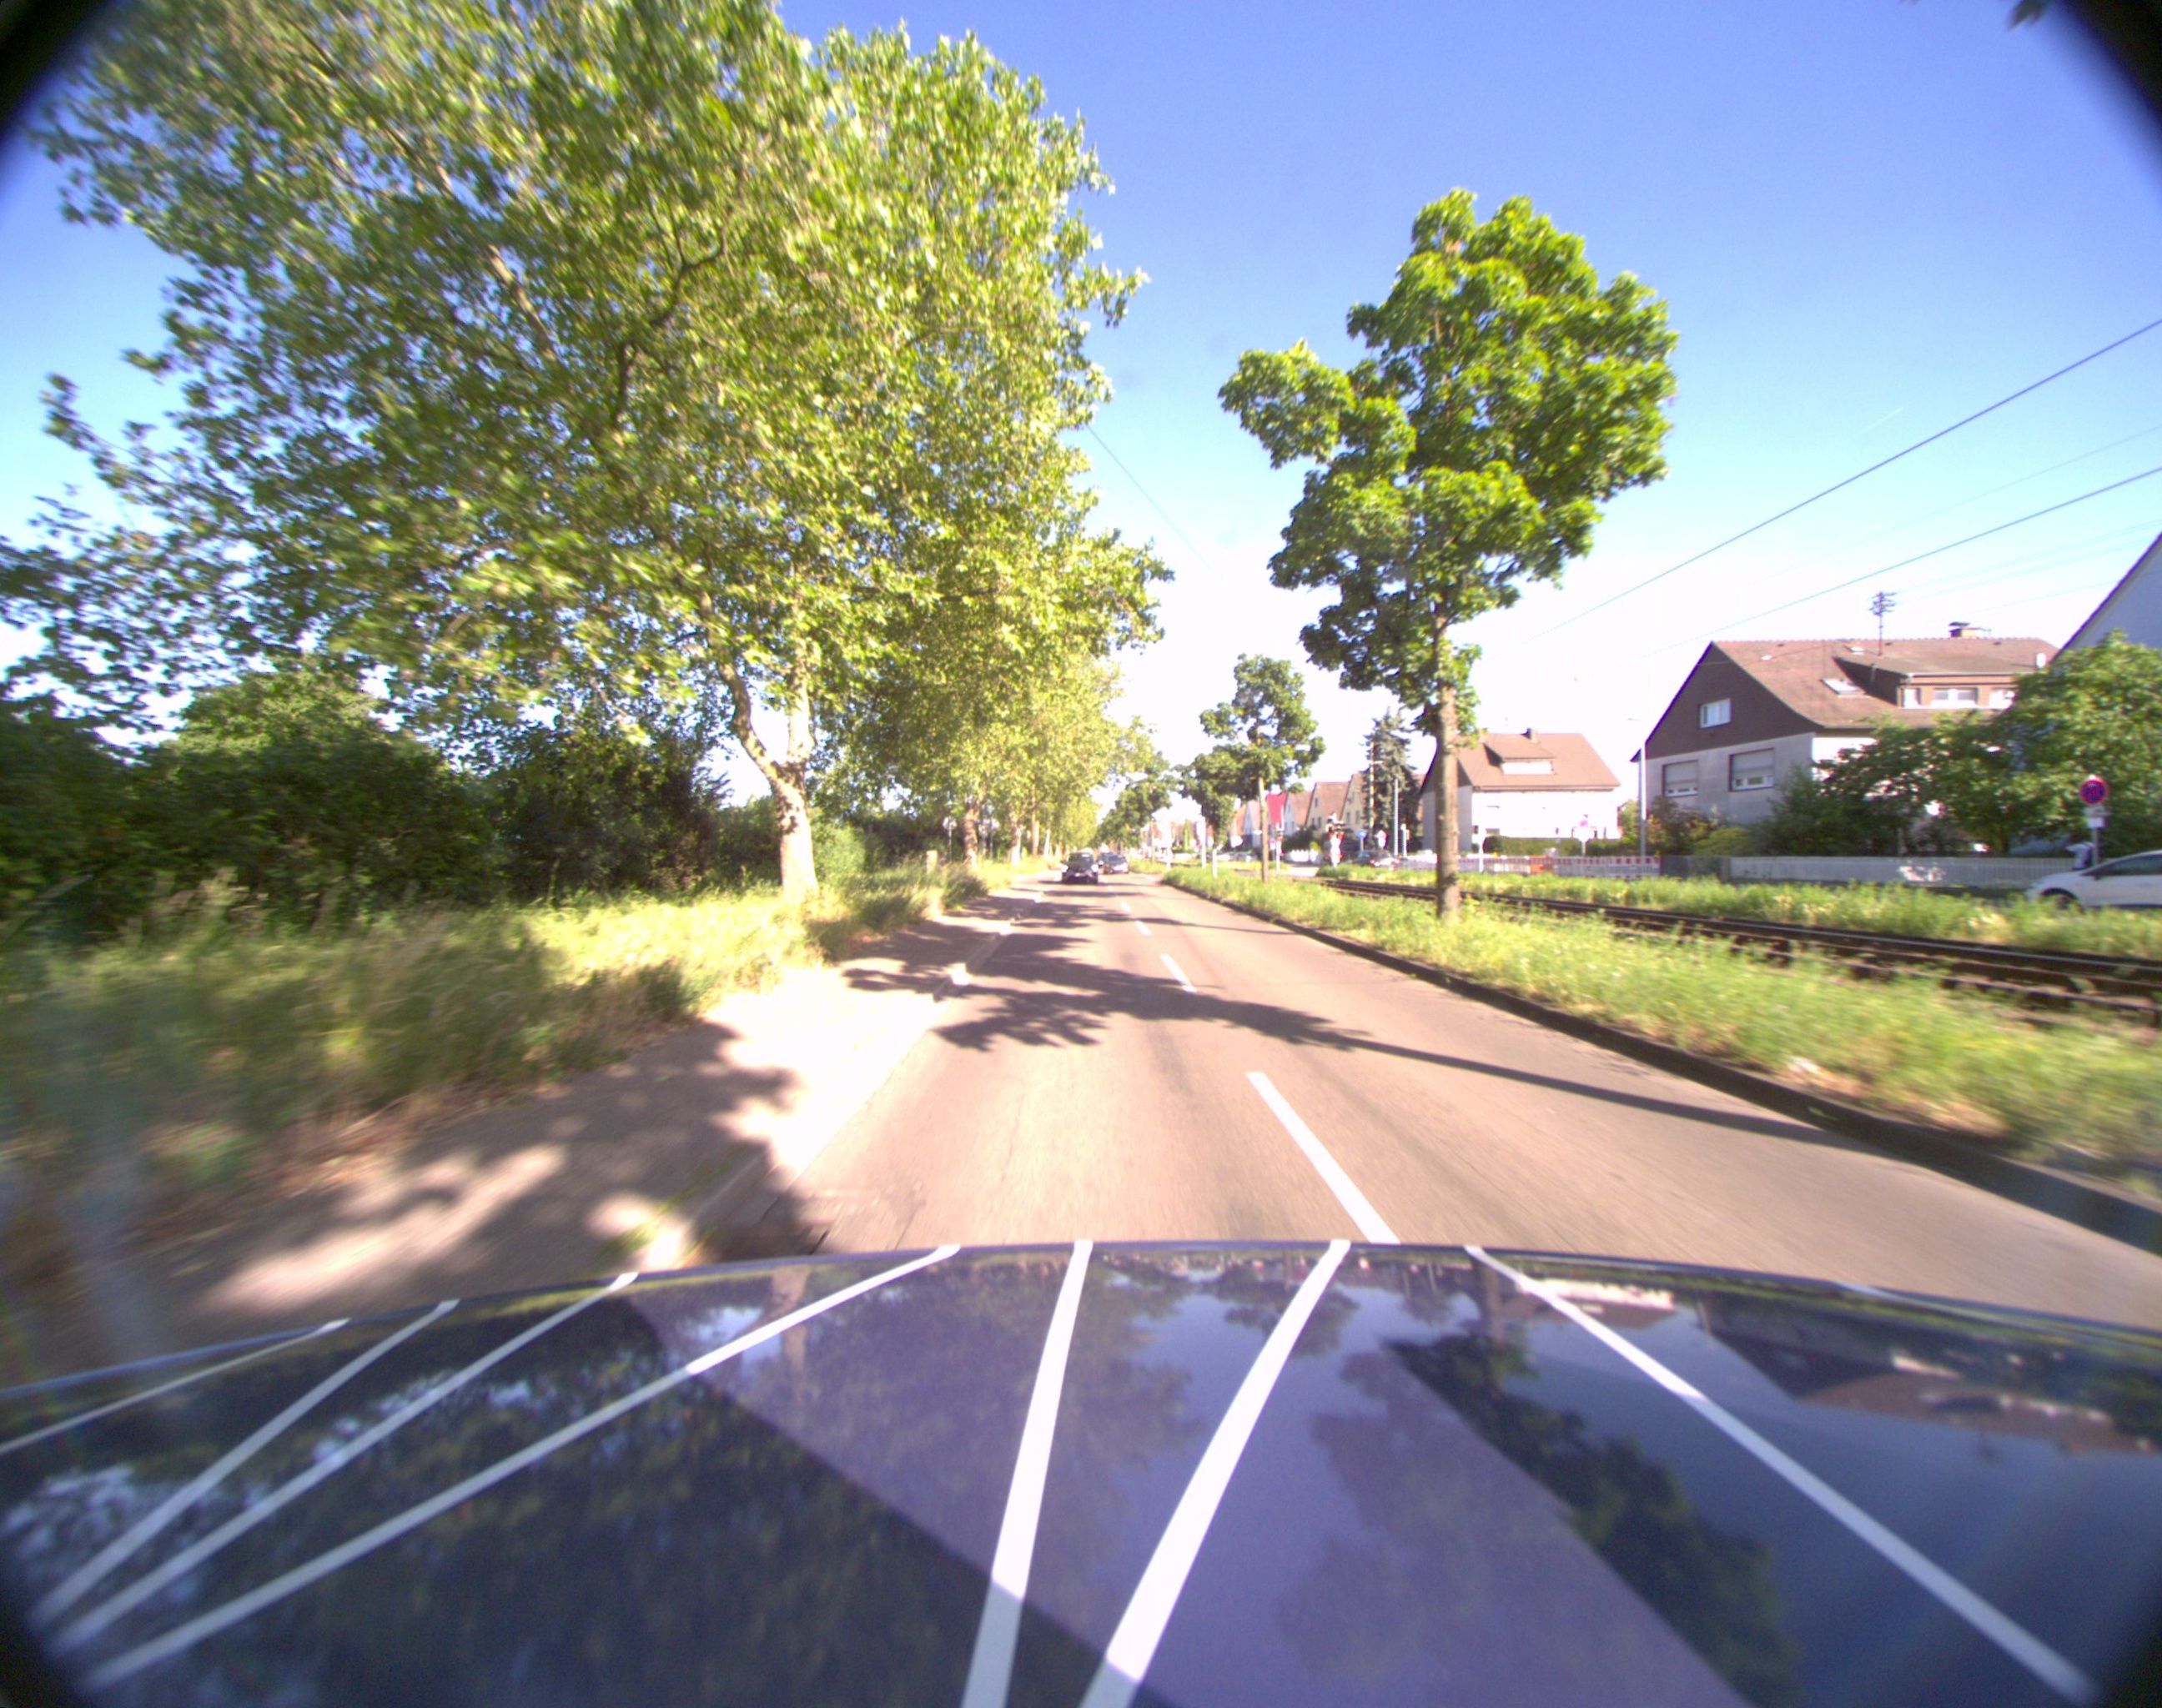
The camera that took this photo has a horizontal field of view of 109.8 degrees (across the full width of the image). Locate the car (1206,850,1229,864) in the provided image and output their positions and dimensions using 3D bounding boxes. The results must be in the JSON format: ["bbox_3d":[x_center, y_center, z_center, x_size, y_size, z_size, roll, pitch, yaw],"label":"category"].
[{"bbox_3d":[16.949,0.296,94.556,1.998,1.594,4.472,-2,1,0],"label":"car"}]

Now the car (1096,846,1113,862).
[{"bbox_3d":[2.387,-0.019,78.488,1.692,1.499,3.582,-2,1,1],"label":"car"}]

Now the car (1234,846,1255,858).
[{"bbox_3d":[22.258,-0.261,103.501,1.998,1.441,4.127,-4,1,0],"label":"car"}]

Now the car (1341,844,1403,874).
[{"bbox_3d":[16.567,0.250,43.456,1.665,1.543,4.809,-2,1,0],"label":"car"}]

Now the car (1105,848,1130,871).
[{"bbox_3d":[2.626,0.373,55.326,1.692,1.499,3.582,-2,1,1],"label":"car"}]

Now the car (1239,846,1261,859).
[{"bbox_3d":[21.944,-0.177,98.603,1.951,1.544,4.056,-2,1,0],"label":"car"}]

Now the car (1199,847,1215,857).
[{"bbox_3d":[22.365,-0.332,135.155,1.998,1.703,4.390,-2,1,0],"label":"car"}]

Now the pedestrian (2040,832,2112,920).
[{"bbox_3d":[23.457,0.503,17.930,0.682,2.002,0.772,-2,1,0],"label":"pedestrian"}]

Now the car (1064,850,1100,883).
[{"bbox_3d":[0.076,0.595,38.248,1.692,1.499,3.582,-2,1,1],"label":"car"}]

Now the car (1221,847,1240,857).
[{"bbox_3d":[22.116,-0.339,112.565,1.998,1.418,4.410,-2,1,2],"label":"car"}]

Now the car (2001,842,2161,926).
[{"bbox_3d":[21.390,0.564,14.788,1.864,1.533,4.227,-2,1,0],"label":"car"}]

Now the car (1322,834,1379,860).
[{"bbox_3d":[27.500,-0.702,77.658,5.041,2.610,2.102,-1,0,0],"label":"car"}]
